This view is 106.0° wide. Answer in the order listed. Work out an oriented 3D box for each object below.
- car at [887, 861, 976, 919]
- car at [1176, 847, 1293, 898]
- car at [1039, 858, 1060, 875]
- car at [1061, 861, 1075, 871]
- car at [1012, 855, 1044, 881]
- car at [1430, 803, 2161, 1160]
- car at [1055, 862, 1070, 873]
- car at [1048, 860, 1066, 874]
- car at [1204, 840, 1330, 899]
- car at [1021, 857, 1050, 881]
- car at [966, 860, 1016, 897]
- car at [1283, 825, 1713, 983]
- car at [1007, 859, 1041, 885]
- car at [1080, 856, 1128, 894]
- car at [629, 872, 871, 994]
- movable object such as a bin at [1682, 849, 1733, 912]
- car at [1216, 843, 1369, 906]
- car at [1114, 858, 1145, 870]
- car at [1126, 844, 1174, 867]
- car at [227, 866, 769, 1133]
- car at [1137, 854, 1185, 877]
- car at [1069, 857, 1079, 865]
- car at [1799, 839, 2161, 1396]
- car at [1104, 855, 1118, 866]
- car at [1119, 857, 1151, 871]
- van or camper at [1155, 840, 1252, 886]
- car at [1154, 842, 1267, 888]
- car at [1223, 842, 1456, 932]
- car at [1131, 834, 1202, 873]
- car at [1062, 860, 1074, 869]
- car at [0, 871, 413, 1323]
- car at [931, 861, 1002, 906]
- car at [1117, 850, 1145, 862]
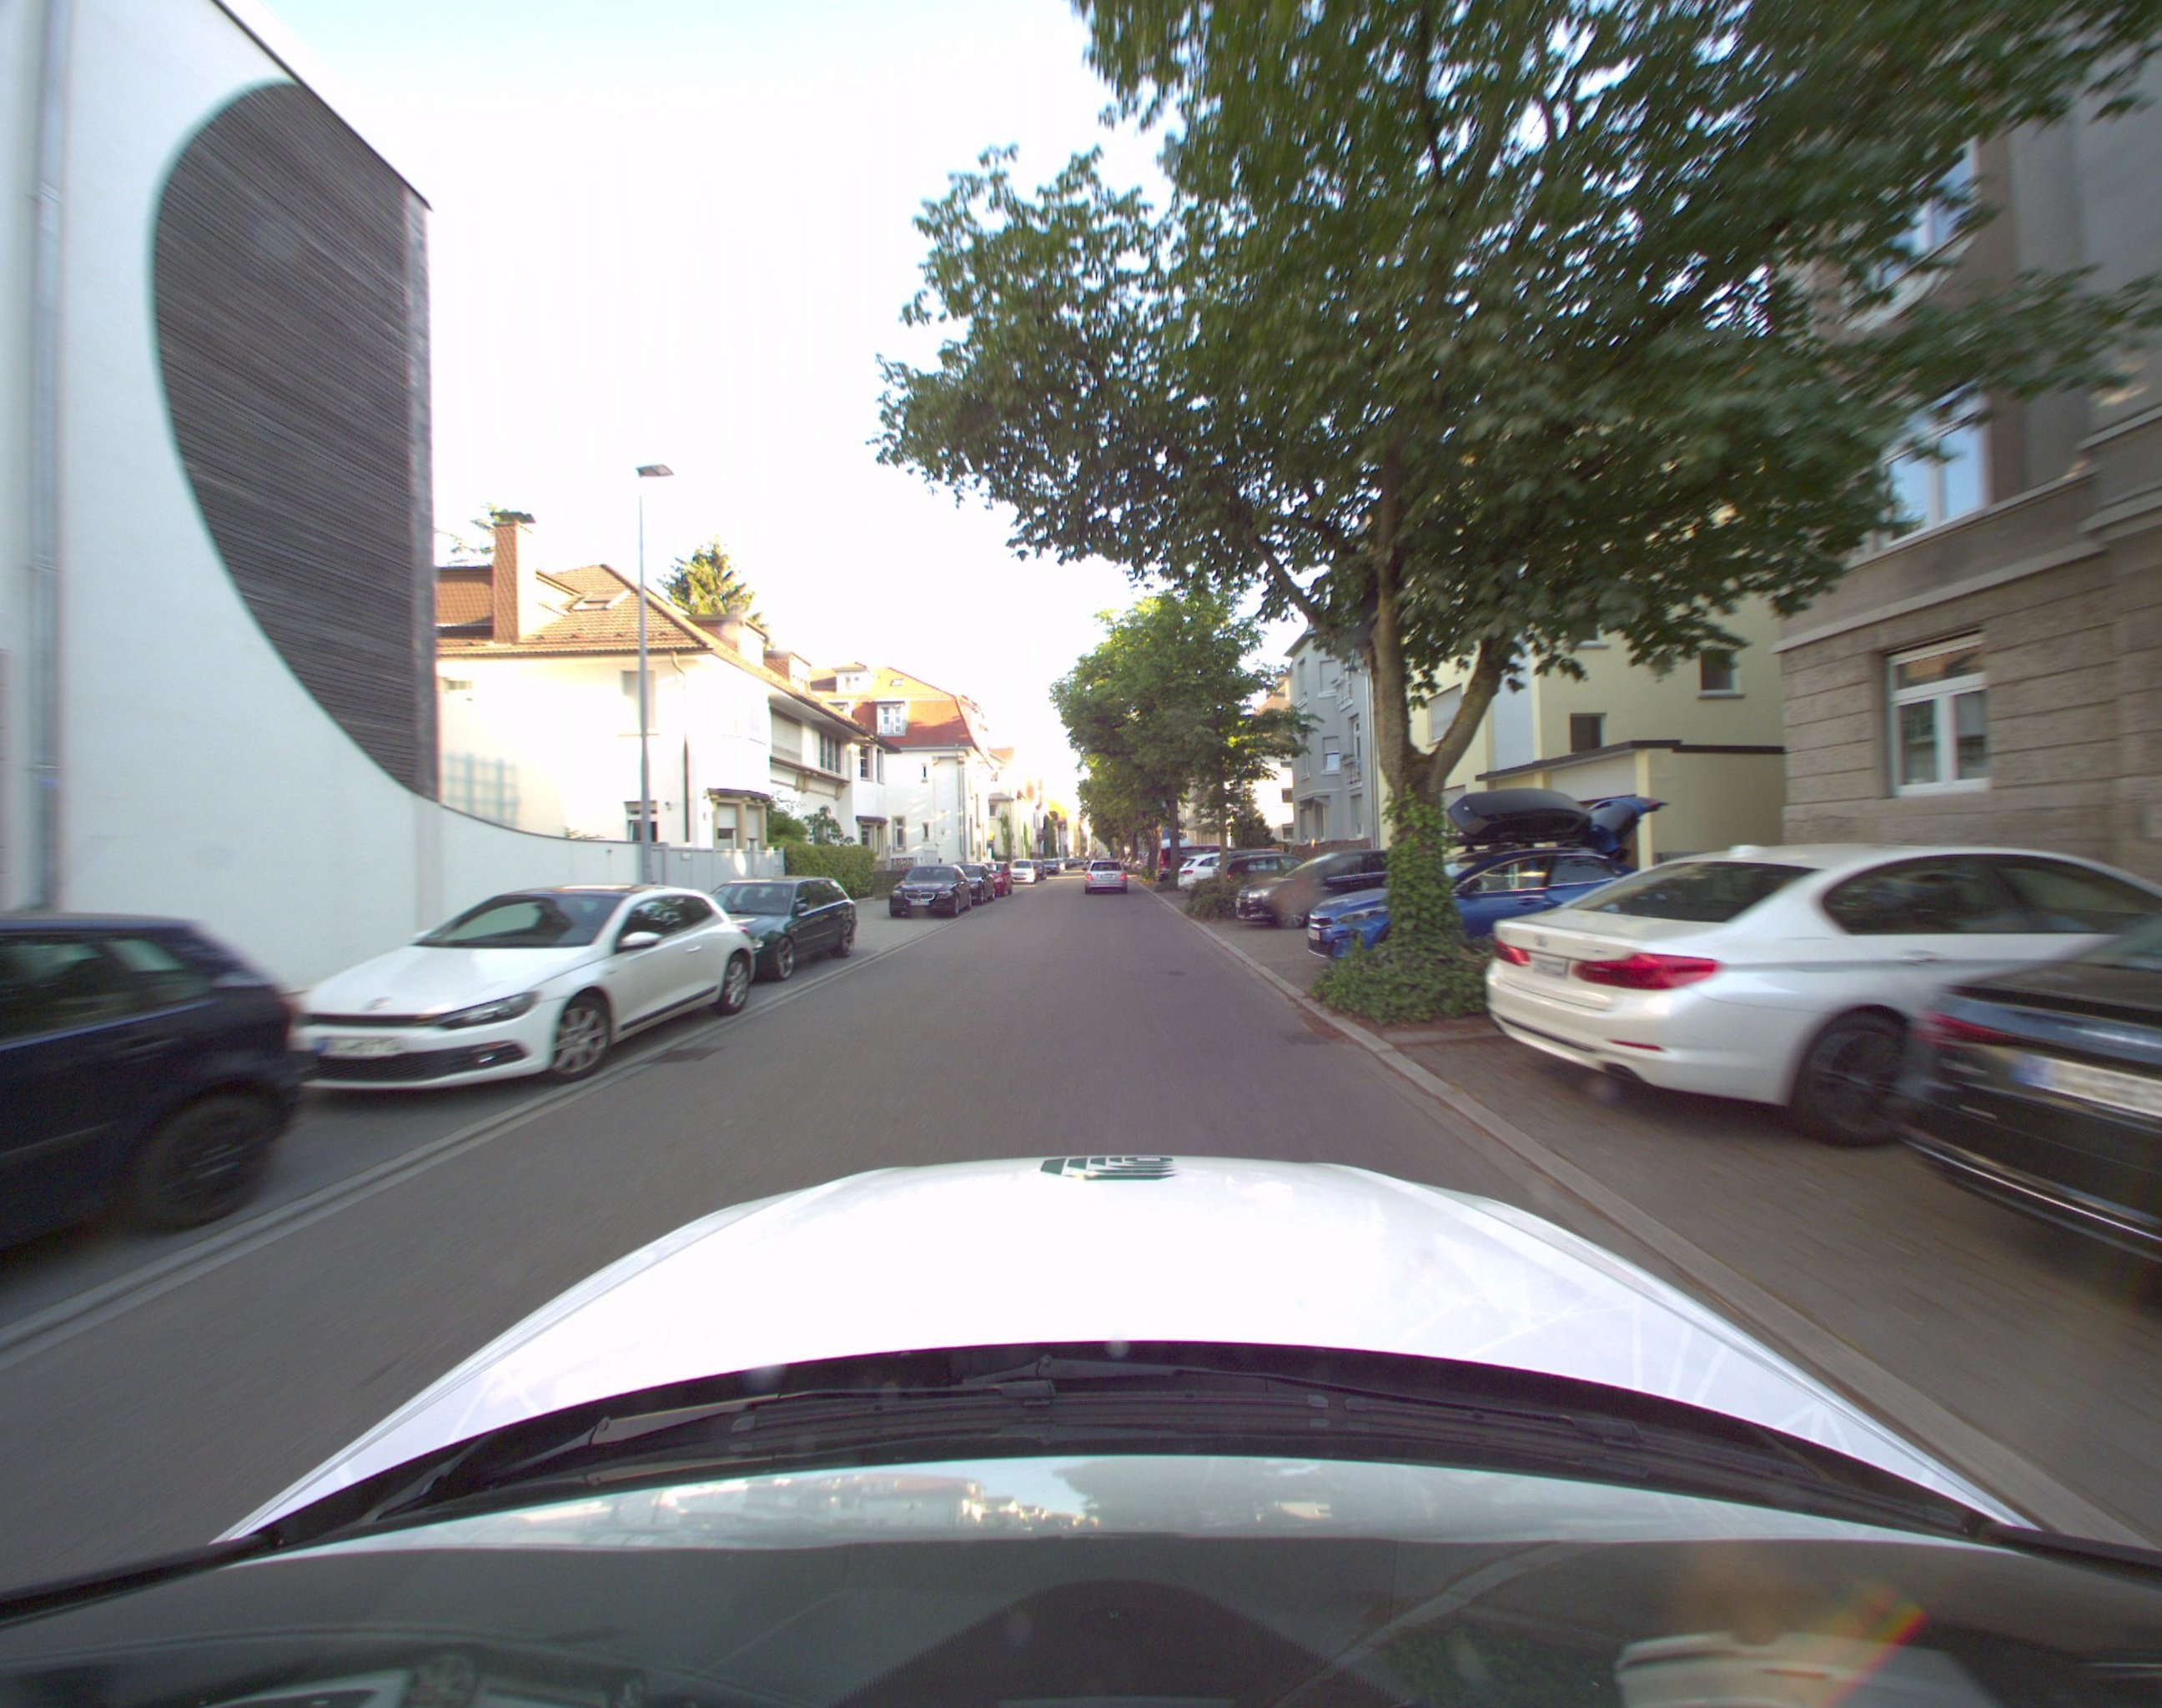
[{"bbox_3d":[-4.300,0.989,24.139,1.849,1.498,4.652,-2,-1,-1],"label":"car"},{"bbox_3d":[5.274,0.633,28.314,3.718,1.558,1.725,-3,0,0],"label":"car"},{"bbox_3d":[-2.988,1.180,77.933,1.793,1.482,3.858,-2,0,1],"label":"car"},{"bbox_3d":[-1.865,1.755,117.985,1.793,1.387,3.607,-2,0,1],"label":"car"},{"bbox_3d":[-3.580,0.956,55.380,1.793,1.644,3.857,-2,-1,1],"label":"car"},{"bbox_3d":[4.825,0.559,5.049,4.469,1.525,1.951,-3,1,-5],"label":"car"},{"bbox_3d":[-2.466,1.813,108.257,1.793,1.387,3.607,-2,0,1],"label":"car"},{"bbox_3d":[-2.786,1.538,94.249,1.793,1.482,3.858,-2,0,1],"label":"car"},{"bbox_3d":[5.799,0.476,25.714,3.536,1.654,1.725,-3,0,0],"label":"car"},{"bbox_3d":[-3.336,1.099,60.109,1.793,1.644,3.858,-2,0,1],"label":"car"},{"bbox_3d":[-3.885,1.051,35.708,1.653,1.488,3.755,-2,-1,2],"label":"car"},{"bbox_3d":[5.099,0.580,10.433,4.512,1.641,1.874,-3,0,0],"label":"car"},{"bbox_3d":[-3.507,1.097,50.545,1.653,1.499,3.755,-2,-1,2],"label":"car"},{"bbox_3d":[1.043,0.875,34.922,1.809,1.473,4.220,-2,-1,4],"label":"car"},{"bbox_3d":[-4.722,1.045,12.369,1.750,1.447,4.146,-2,-1,3],"label":"car"},{"bbox_3d":[11.080,0.463,14.418,0.454,1.086,0.532,-2,-2,2],"label":"movable object such as a bin"},{"bbox_3d":[5.943,0.567,23.186,3.909,1.558,1.727,-3,0,3],"label":"car"},{"bbox_3d":[6.240,1.289,105.074,3.829,1.482,1.806,-2,0,2],"label":"car"},{"bbox_3d":[6.827,0.133,81.032,4.505,2.013,2.250,-2,0,-1],"label":"car"},{"bbox_3d":[-4.501,0.954,7.245,1.879,1.591,4.088,-2,0,-1],"label":"car"},{"bbox_3d":[6.368,0.867,64.828,3.584,1.659,1.649,-2,0,-1],"label":"car"},{"bbox_3d":[-1.334,1.394,159.414,1.793,1.387,3.607,-2,0,1],"label":"car"},{"bbox_3d":[4.942,0.625,2.405,4.129,1.448,1.673,-3,0,0],"label":"car"},{"bbox_3d":[4.277,0.919,115.621,1.809,1.473,4.220,-2,-1,4],"label":"car"},{"bbox_3d":[6.786,1.244,102.616,3.829,1.482,1.806,-2,0,2],"label":"car"},{"bbox_3d":[5.686,0.421,38.238,4.294,2.013,2.002,-1,0,4],"label":"van or camper"},{"bbox_3d":[5.578,0.478,35.578,4.609,1.836,1.954,-1,0,1],"label":"car"},{"bbox_3d":[5.223,0.651,16.868,4.177,1.558,1.874,-3,0,0],"label":"car"},{"bbox_3d":[7.104,-0.022,67.903,5.526,2.968,2.471,-2,0,-2],"label":"car"},{"bbox_3d":[-2.072,1.623,129.274,1.793,1.387,3.607,-2,0,1],"label":"car"},{"bbox_3d":[-4.829,0.913,2.684,1.879,1.591,4.088,-2,0,-1],"label":"car"},{"bbox_3d":[-4.140,1.026,30.126,1.777,1.498,4.701,-2,-1,2],"label":"car"},{"bbox_3d":[6.899,0.250,112.162,3.829,1.482,1.806,-2,0,2],"label":"car"}]
